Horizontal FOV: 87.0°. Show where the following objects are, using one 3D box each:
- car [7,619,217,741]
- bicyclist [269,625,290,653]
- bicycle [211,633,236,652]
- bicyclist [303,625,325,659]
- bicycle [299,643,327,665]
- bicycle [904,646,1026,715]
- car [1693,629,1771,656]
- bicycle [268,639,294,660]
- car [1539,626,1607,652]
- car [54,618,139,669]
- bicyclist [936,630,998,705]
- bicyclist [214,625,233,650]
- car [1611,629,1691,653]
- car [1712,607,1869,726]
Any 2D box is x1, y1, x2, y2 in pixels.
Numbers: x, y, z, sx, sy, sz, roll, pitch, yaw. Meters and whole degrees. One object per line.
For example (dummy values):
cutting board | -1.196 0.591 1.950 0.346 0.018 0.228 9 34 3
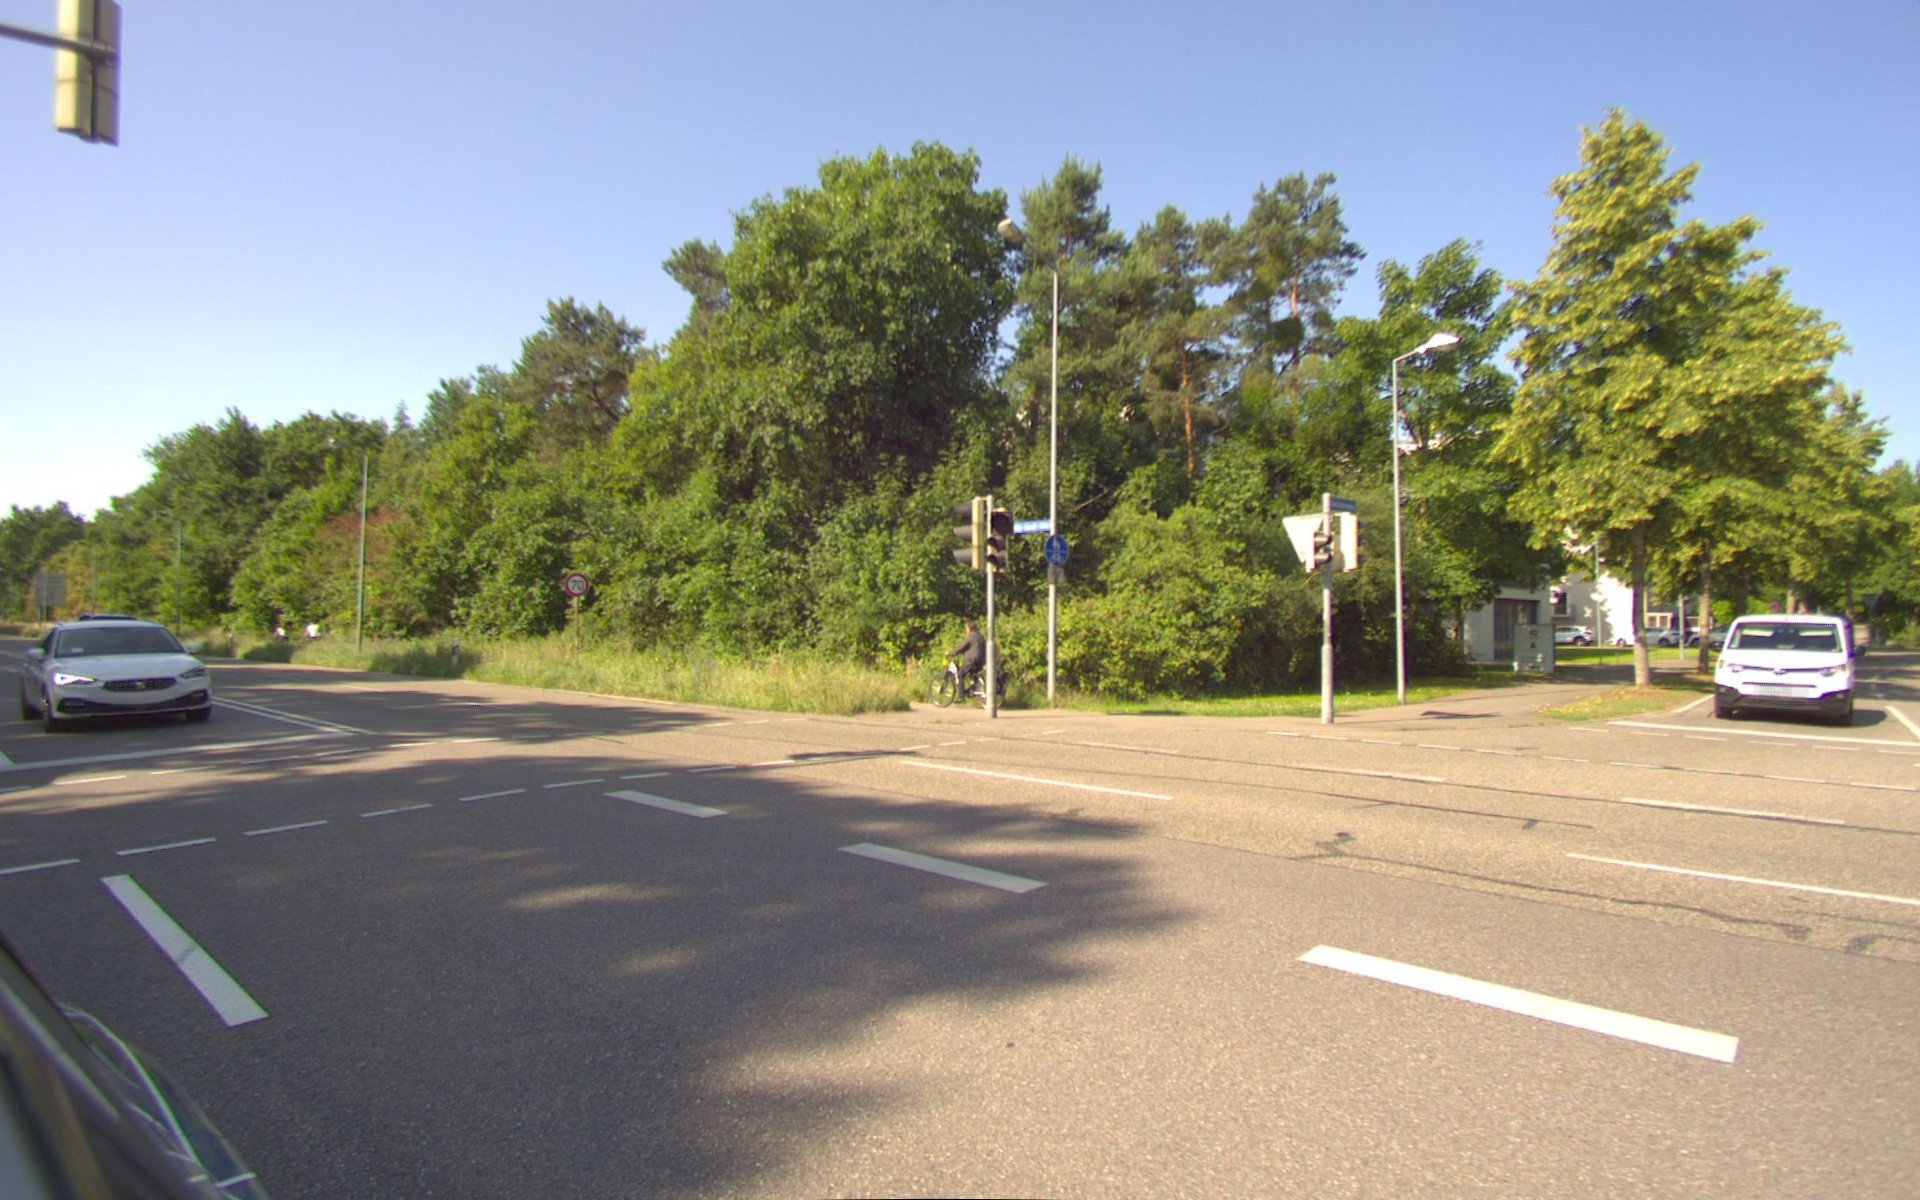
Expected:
car | -12.300 1.043 14.571 4.422 1.435 1.765 -2 0 43
bicyclist | -32.765 1.871 48.749 0.727 1.273 0.692 -1 0 44
bicycle | -41.304 2.367 56.746 1.912 0.963 0.668 -1 0 40
bicyclist | -28.969 1.865 45.357 0.945 1.477 0.603 -1 0 44
bicycle | -29.020 2.415 45.360 2.139 0.921 0.597 -2 -2 44
bicycle | 0.065 1.450 18.733 2.371 1.172 0.725 -1 -2 41
car | 50.463 2.737 66.230 1.572 1.575 3.719 -1 0 -24
bicycle | -32.748 2.386 48.791 2.139 0.965 0.597 -2 -2 44
car | 44.931 2.865 74.175 3.998 1.741 1.973 -1 0 41
car | -30.952 1.512 36.224 4.391 1.710 1.771 -1 -2 43
bicyclist | 0.129 1.227 18.684 0.883 1.321 0.714 -1 -2 40
bicyclist | -41.291 2.095 56.730 0.974 1.352 0.668 -1 0 40
car | 48.046 2.818 70.451 1.748 1.497 4.283 -1 0 -38
car | 14.462 1.084 17.516 1.852 1.791 4.595 -1 -3 42
